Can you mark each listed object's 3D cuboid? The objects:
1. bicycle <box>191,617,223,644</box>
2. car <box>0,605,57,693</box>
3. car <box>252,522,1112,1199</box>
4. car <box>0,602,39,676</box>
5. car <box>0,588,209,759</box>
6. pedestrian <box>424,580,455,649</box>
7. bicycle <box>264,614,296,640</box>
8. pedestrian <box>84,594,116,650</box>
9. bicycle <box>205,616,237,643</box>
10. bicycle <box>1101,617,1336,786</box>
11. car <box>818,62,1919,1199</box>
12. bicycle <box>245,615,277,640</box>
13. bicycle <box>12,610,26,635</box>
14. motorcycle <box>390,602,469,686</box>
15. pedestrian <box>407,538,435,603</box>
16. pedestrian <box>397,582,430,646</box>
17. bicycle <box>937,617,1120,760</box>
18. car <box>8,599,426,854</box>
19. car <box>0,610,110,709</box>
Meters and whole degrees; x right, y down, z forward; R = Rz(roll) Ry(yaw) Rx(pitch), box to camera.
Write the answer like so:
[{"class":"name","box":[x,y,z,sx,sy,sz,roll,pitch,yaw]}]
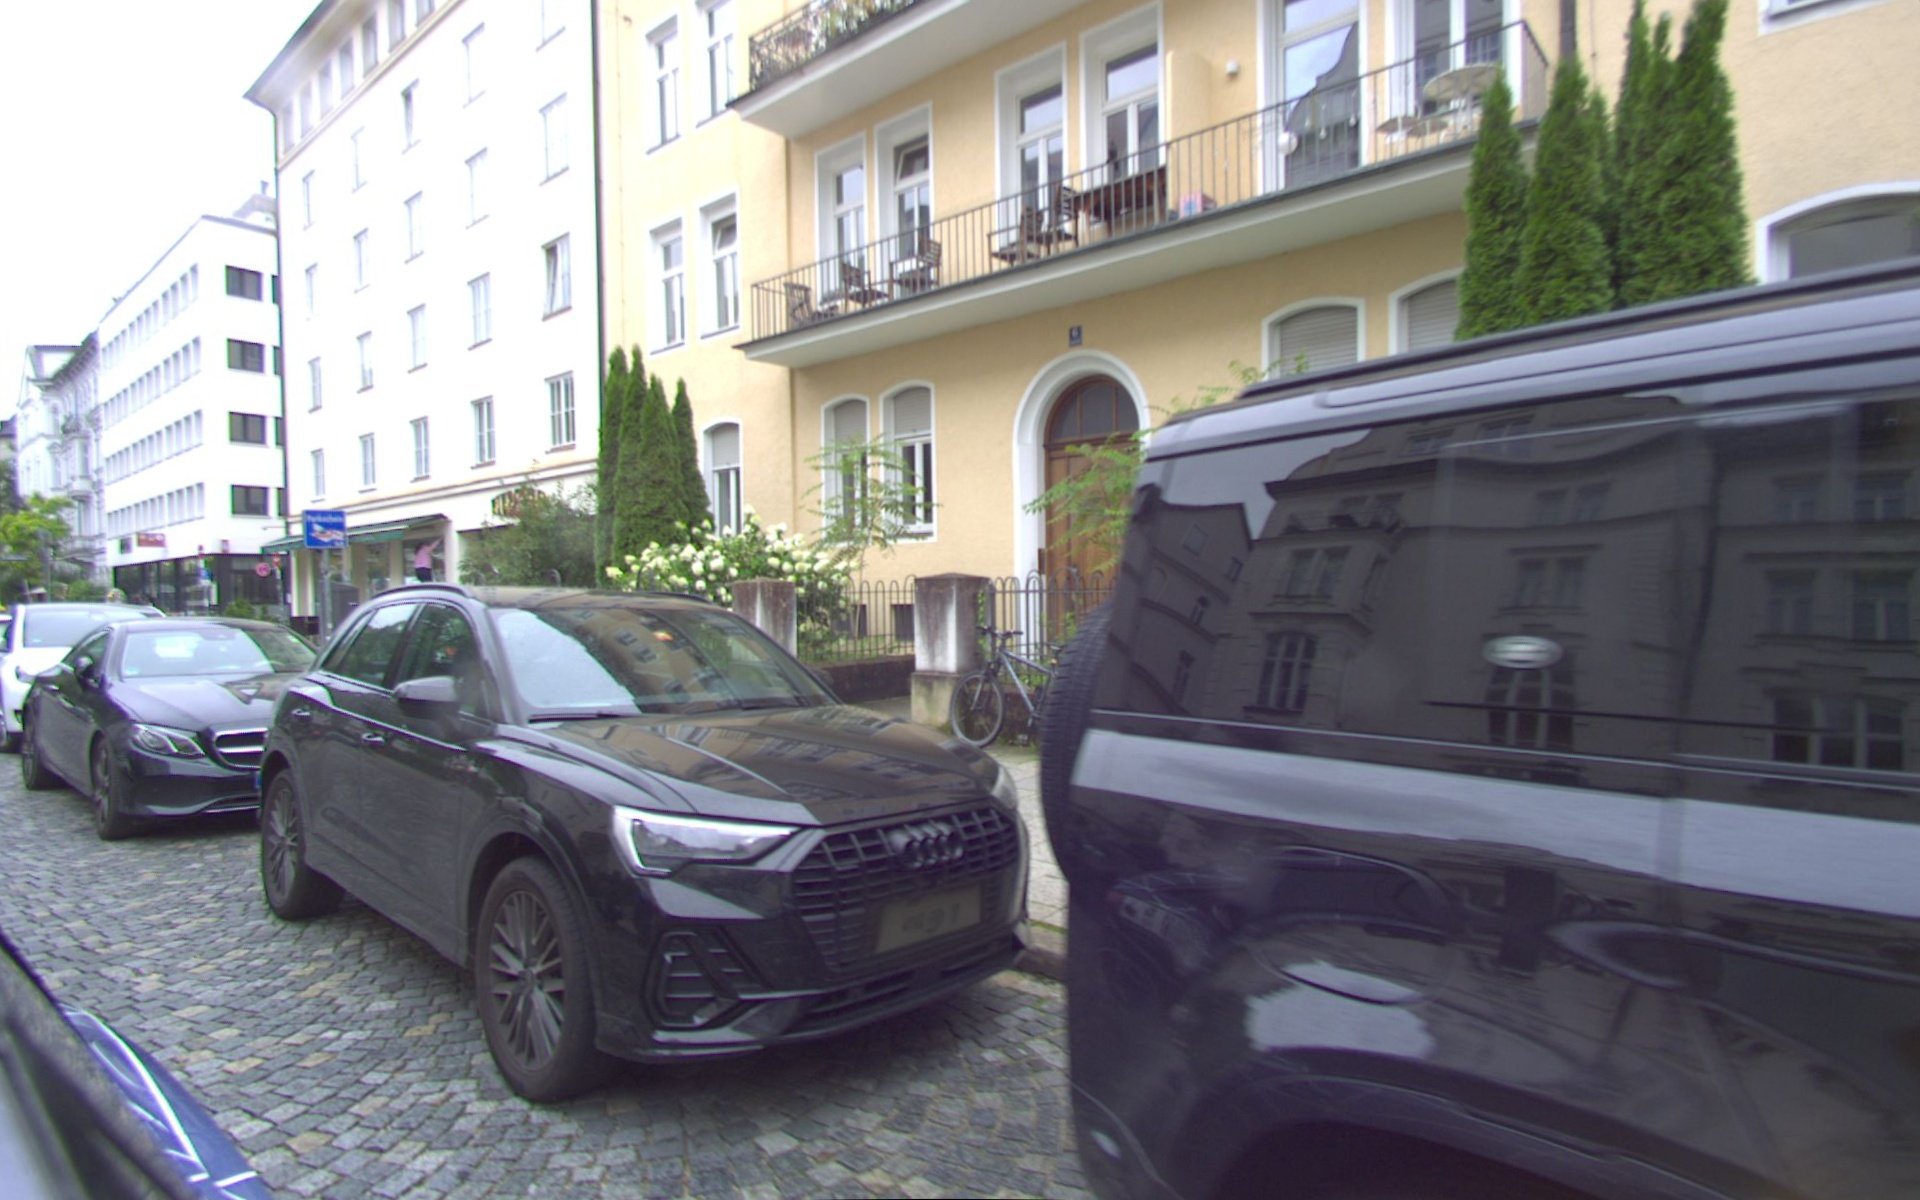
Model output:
[{"class":"bicycle","box":[-28.675,1.147,38.512,1.890,0.975,0.394,0,2,36]},{"class":"car","box":[-19.174,0.912,19.724,4.538,1.547,1.755,0,2,41]},{"class":"car","box":[-1.498,0.623,4.233,4.056,1.602,1.562,0,0,43]},{"class":"car","box":[-23.147,0.888,23.568,4.744,1.598,1.834,0,2,40]},{"class":"car","box":[-10.717,0.731,12.244,4.390,1.660,1.755,0,2,42]},{"class":"pedestrian","box":[-13.114,0.355,25.500,0.574,1.703,0.457,0,2,41]},{"class":"bicycle","box":[-27.315,1.071,40.627,1.890,0.975,0.394,0,2,36]},{"class":"pedestrian","box":[-29.447,0.740,34.661,0.812,1.854,0.608,0,1,35]},{"class":"bicycle","box":[-28.409,1.135,38.901,1.890,0.975,0.394,0,2,36]},{"class":"bicycle","box":[1.722,0.641,6.917,1.572,1.010,0.348,0,2,43]},{"class":"car","box":[2.184,0.402,0.857,4.721,1.750,1.962,-1,1,42]},{"class":"bicycle","box":[-27.675,1.079,40.071,1.890,0.975,0.394,0,2,36]},{"class":"bicycle","box":[-46.295,1.099,49.795,1.911,1.183,0.356,0,2,44]},{"class":"motorcycle","box":[-8.086,0.642,15.396,1.578,1.203,0.486,0,2,41]},{"class":"pedestrian","box":[-13.779,-0.756,25.858,0.472,1.654,0.497,-3,2,-45]},{"class":"pedestrian","box":[-14.241,0.356,26.355,0.629,1.654,0.516,0,2,41]},{"class":"bicycle","box":[0.509,0.661,8.073,1.572,1.010,0.348,0,2,43]},{"class":"car","box":[-6.084,0.749,8.067,4.389,1.440,1.755,0,2,41]},{"class":"car","box":[-15.486,0.905,16.546,4.389,1.369,1.755,0,2,41]}]
